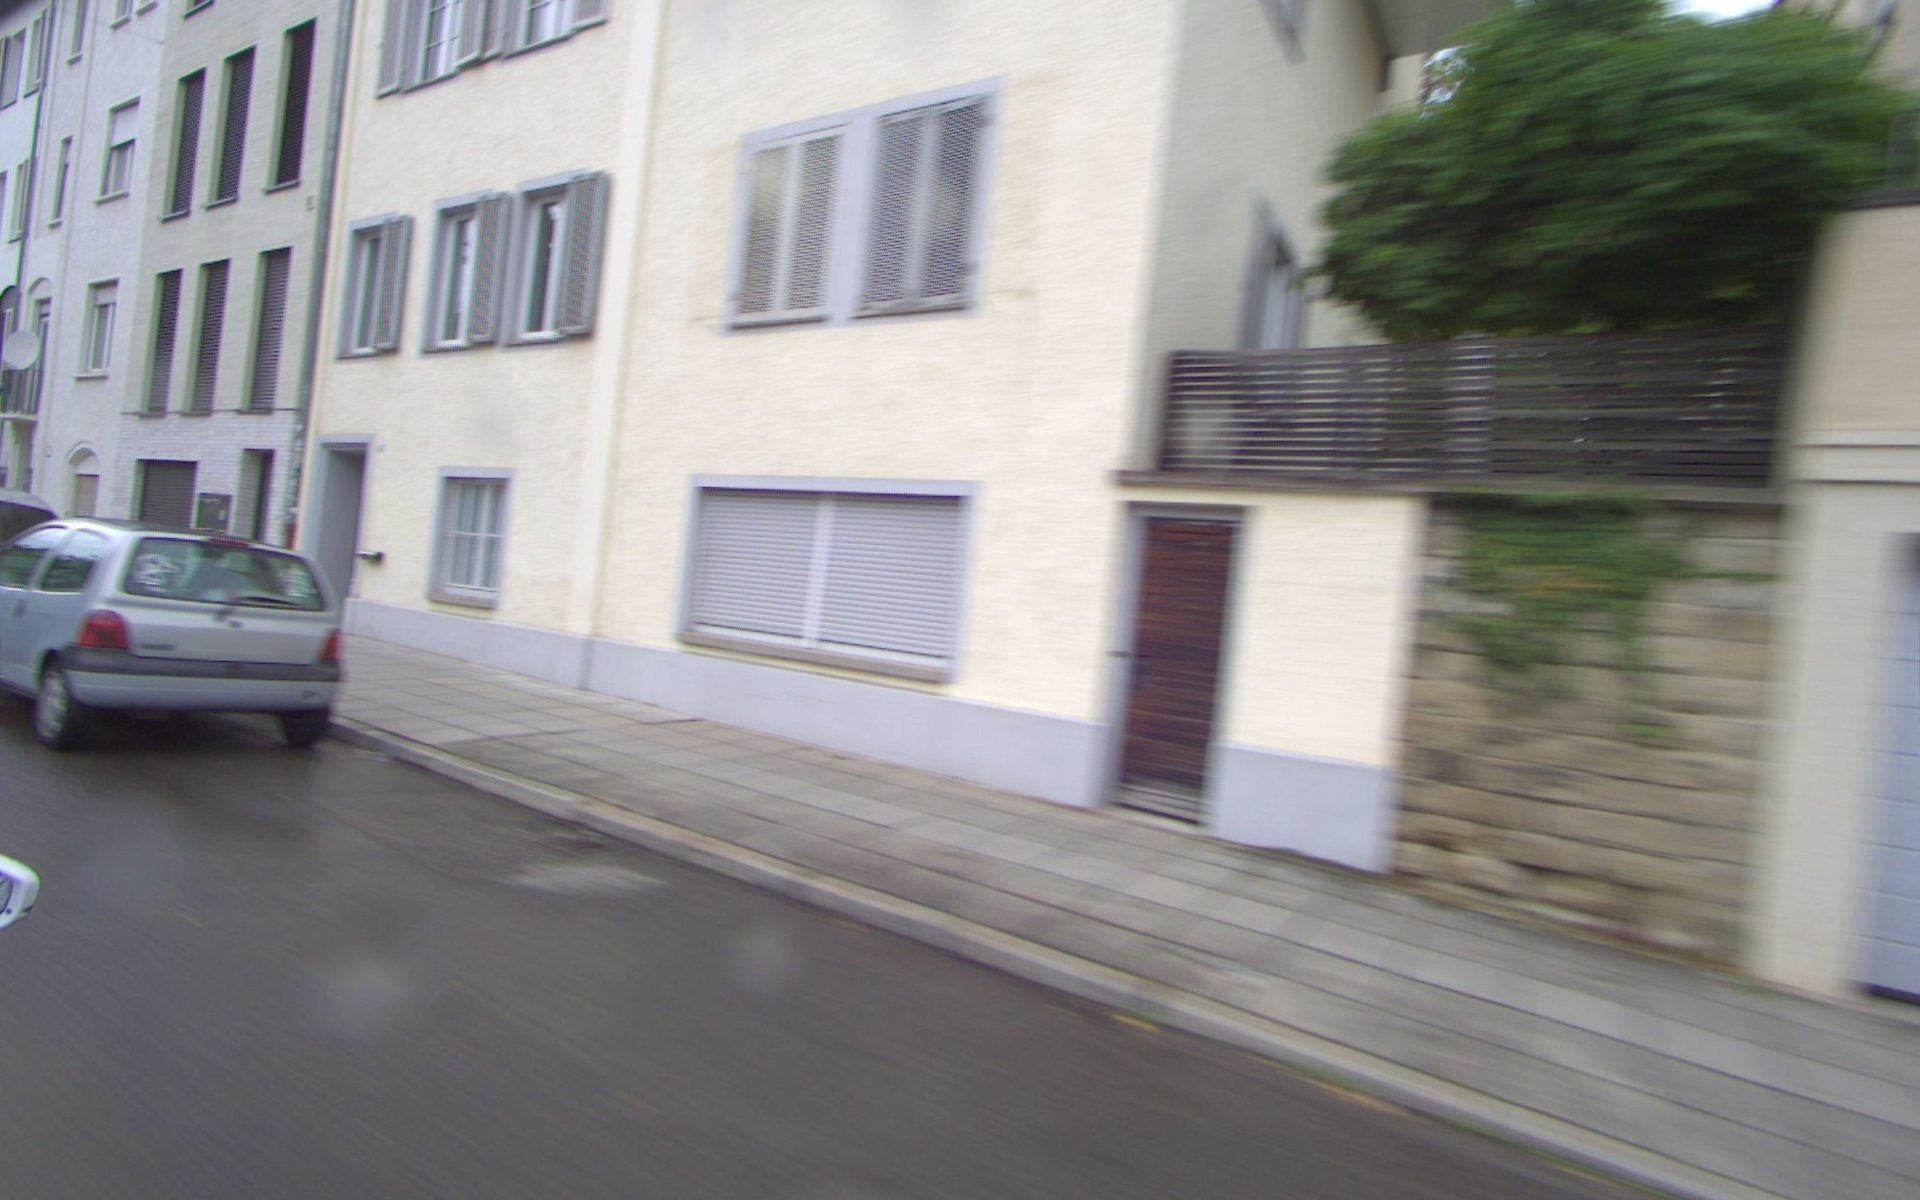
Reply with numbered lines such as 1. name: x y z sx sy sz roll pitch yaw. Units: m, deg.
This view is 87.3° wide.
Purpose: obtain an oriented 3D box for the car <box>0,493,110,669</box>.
1. car: -10.467 -0.415 10.073 3.933 1.542 1.720 8 -2 32

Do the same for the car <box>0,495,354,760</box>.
1. car: -6.454 0.089 7.587 3.696 1.470 1.562 8 -2 32
